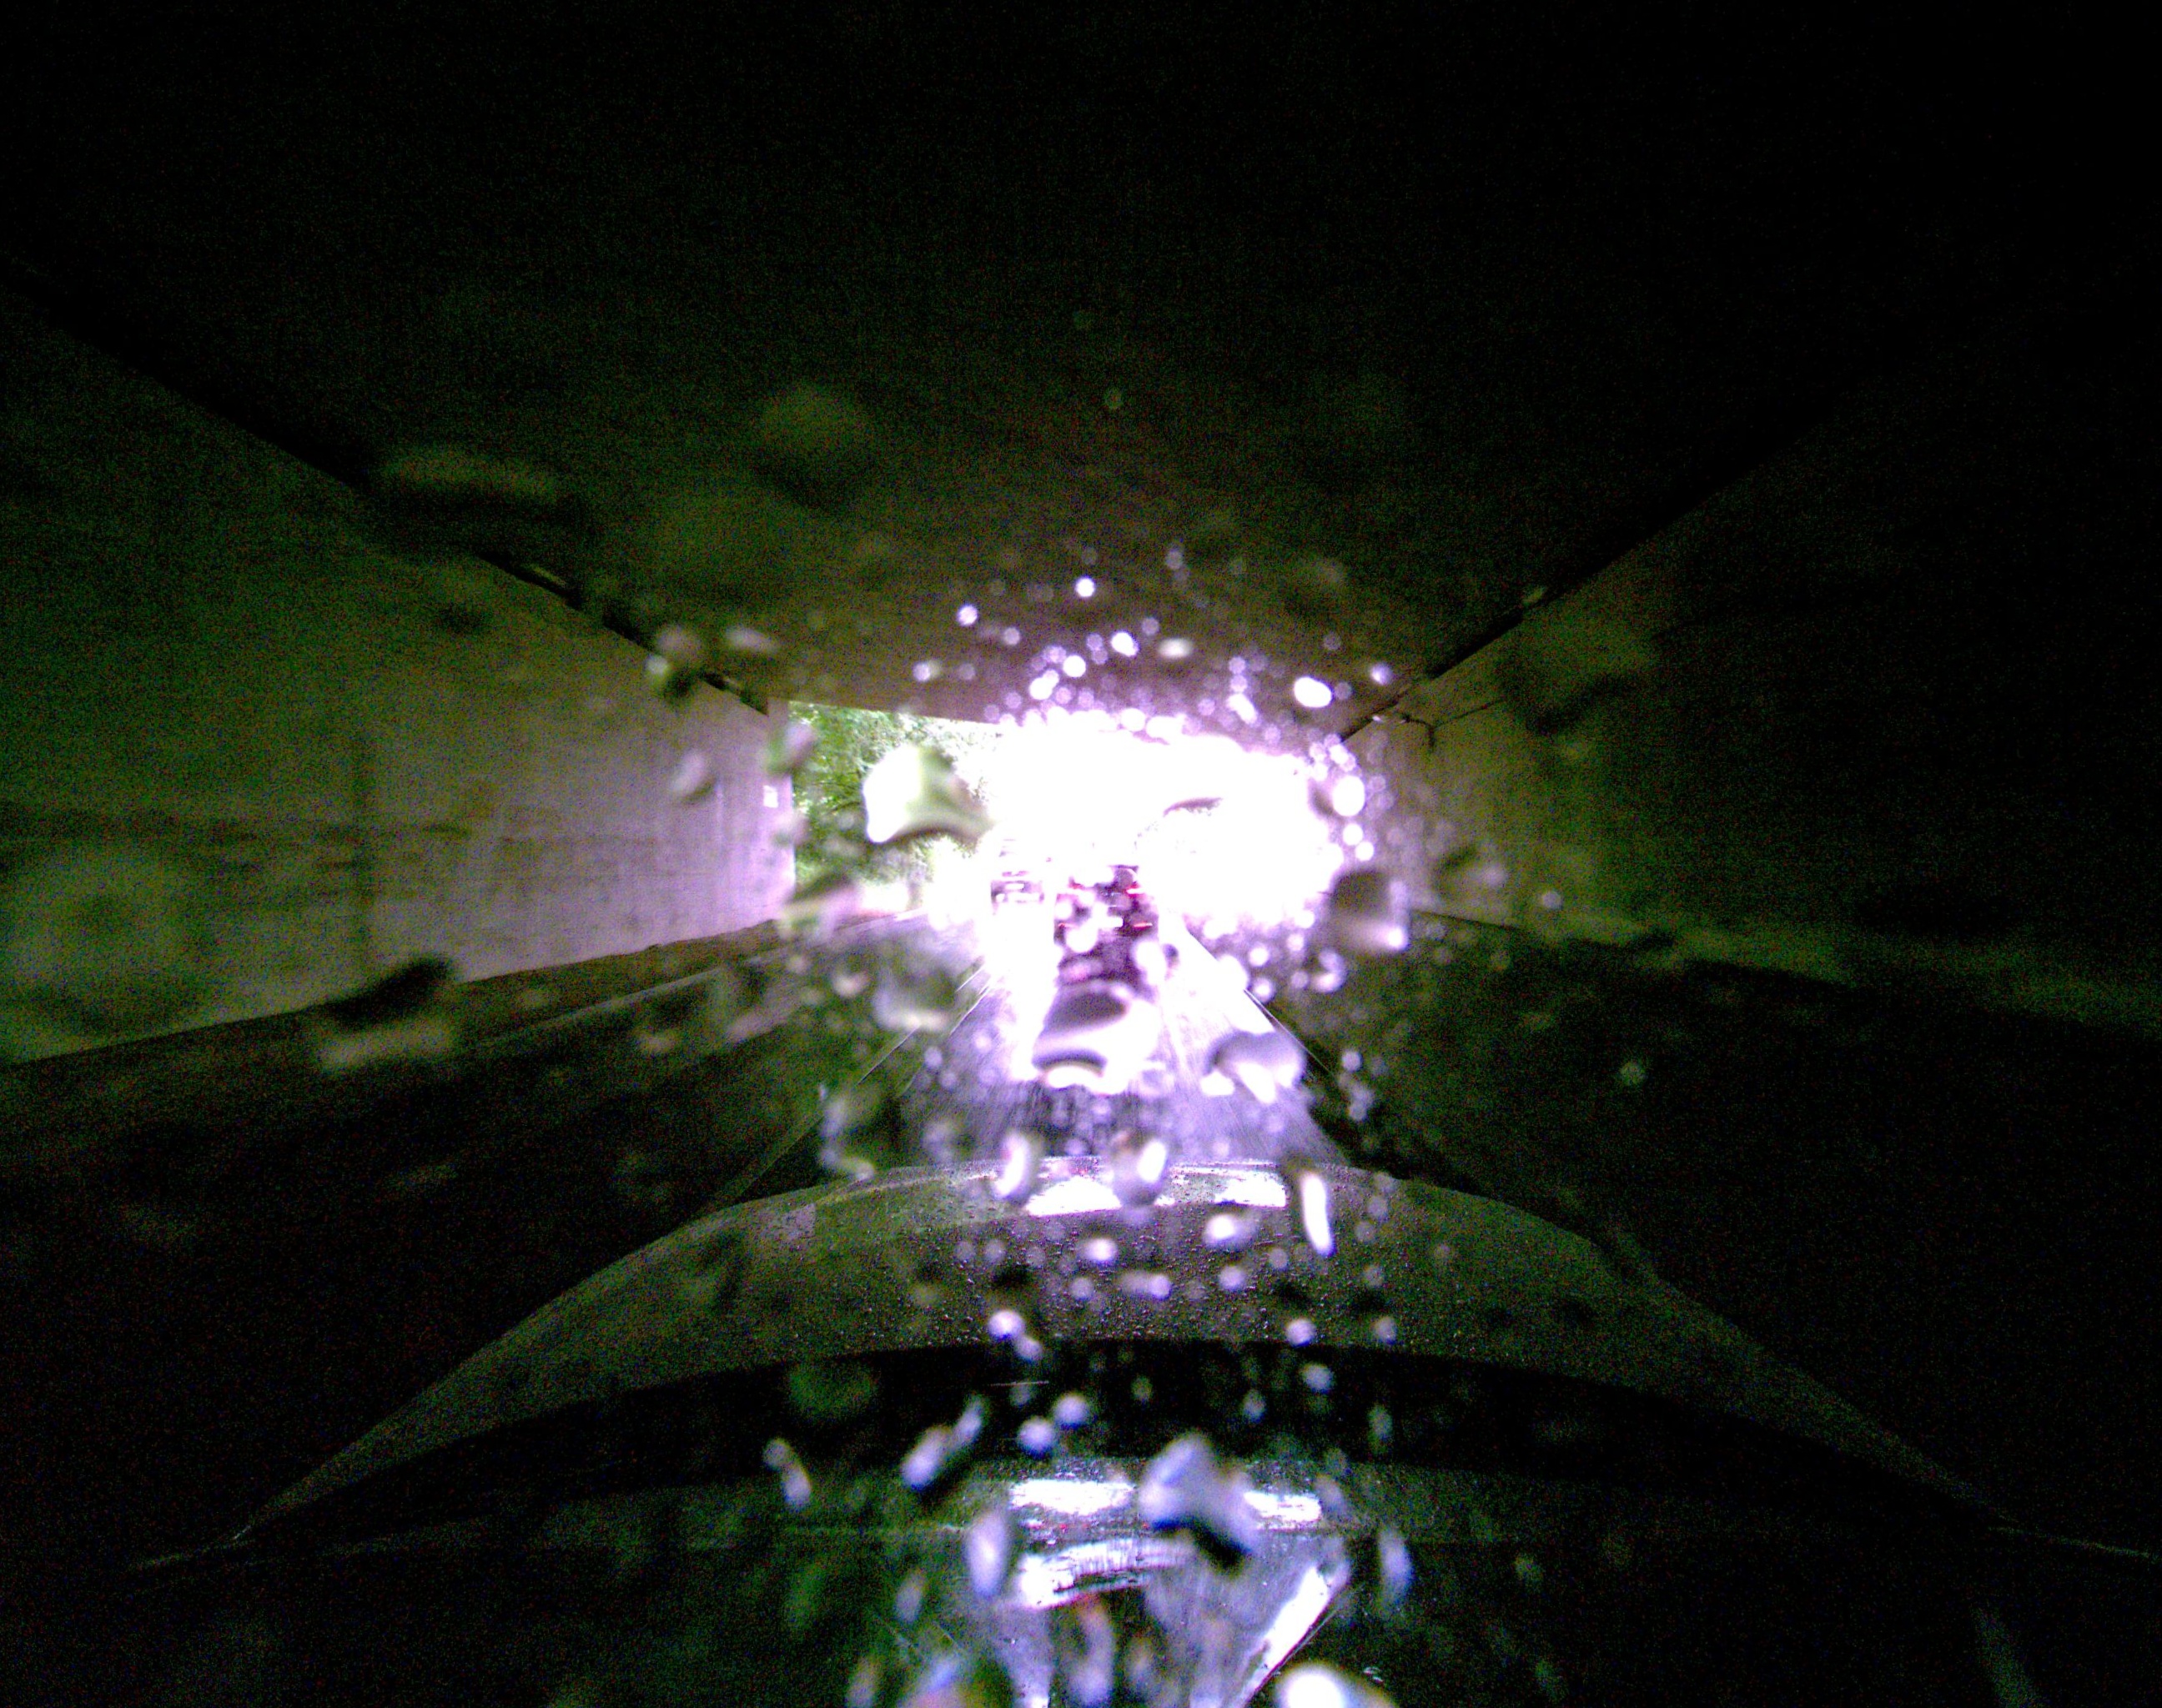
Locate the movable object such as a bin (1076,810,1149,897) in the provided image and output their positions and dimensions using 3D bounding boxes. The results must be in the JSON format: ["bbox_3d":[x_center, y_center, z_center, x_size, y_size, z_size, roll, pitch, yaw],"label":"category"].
[{"bbox_3d":[1.007,-0.027,28.232,2.238,2.669,6.627,0,0,1],"label":"movable object such as a bin"}]

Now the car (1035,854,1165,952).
[{"bbox_3d":[0.235,0.744,14.437,1.988,1.487,3.997,0,0,-2],"label":"car"}]

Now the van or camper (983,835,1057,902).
[{"bbox_3d":[-2.009,0.456,28.139,1.986,2.098,4.694,0,0,2],"label":"van or camper"}]
